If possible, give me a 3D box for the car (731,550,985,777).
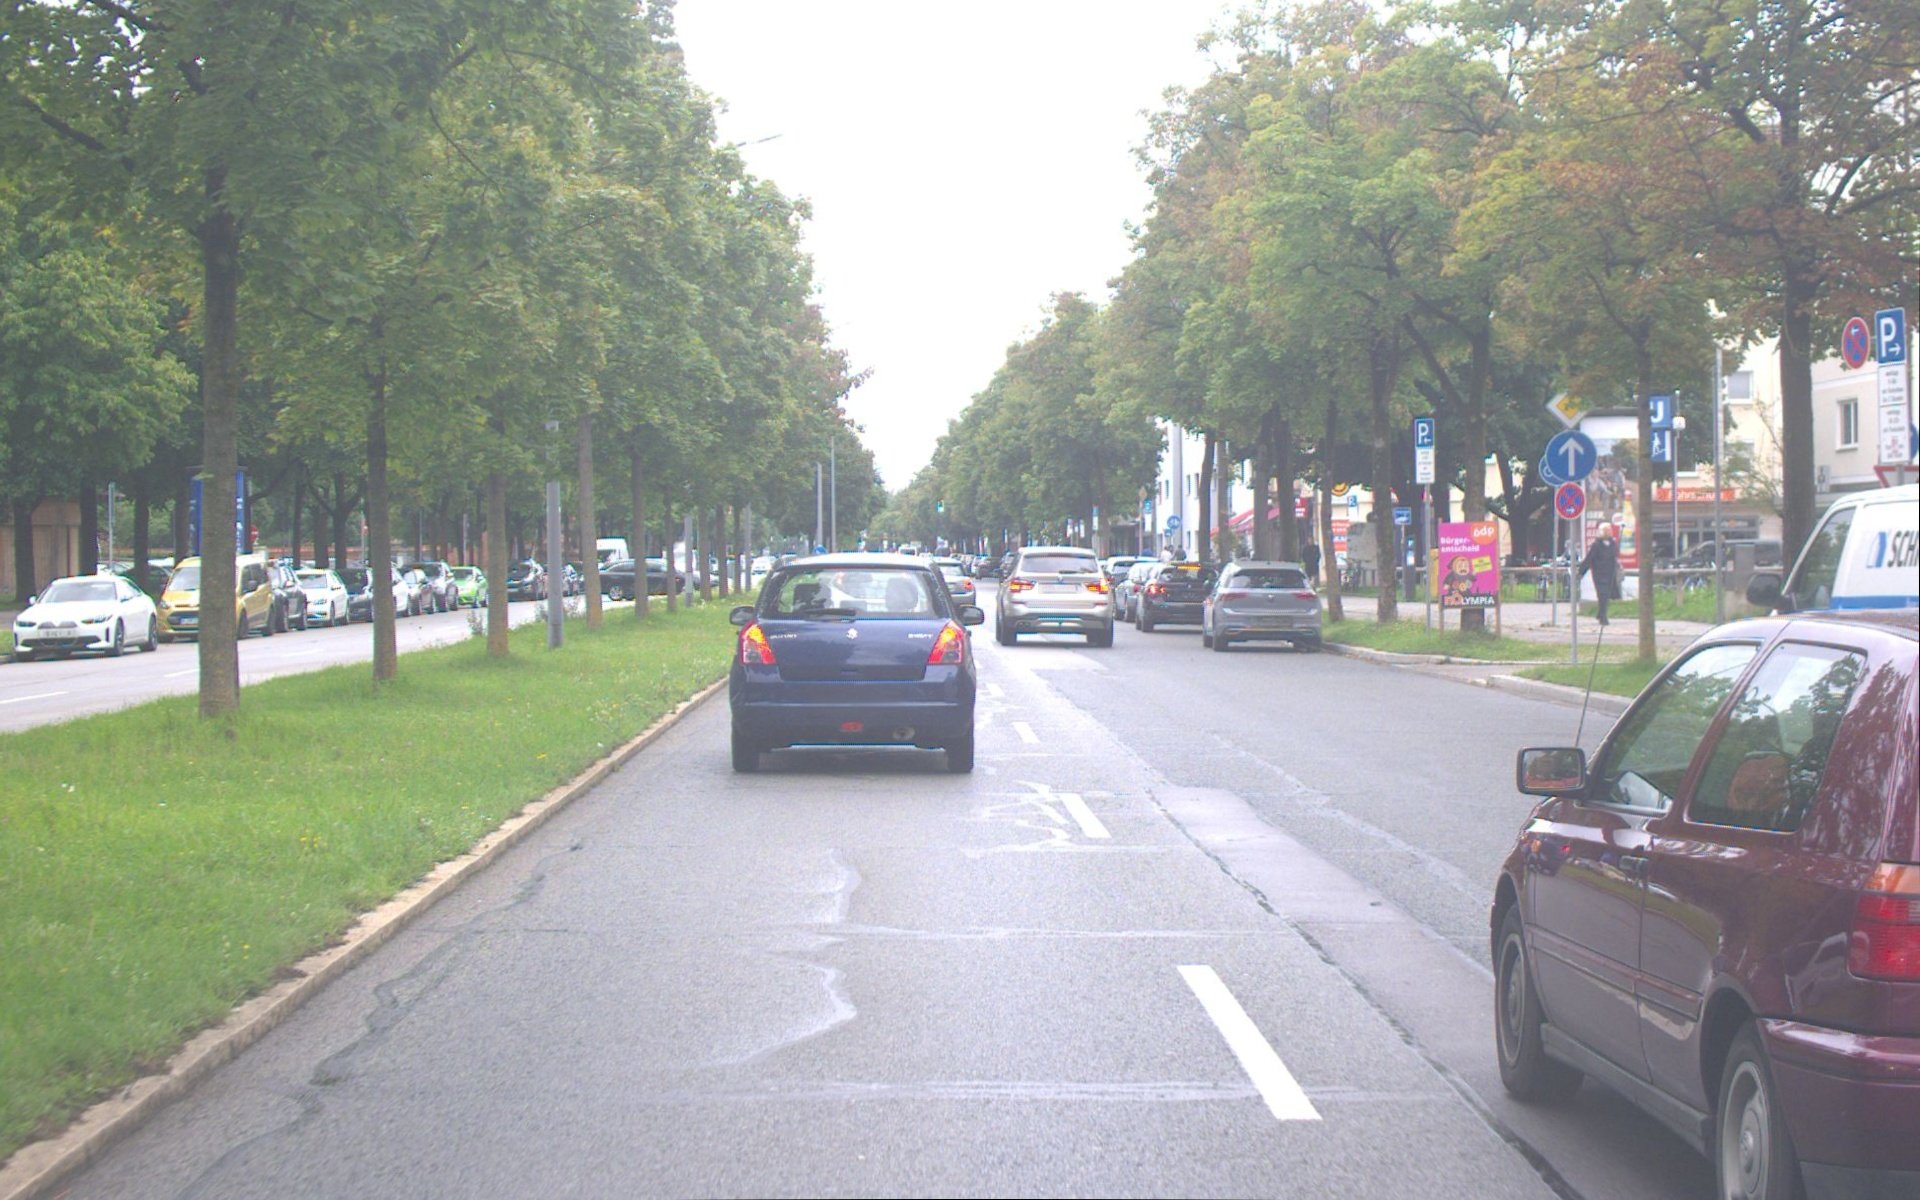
[{"bbox_3d":[-0.747,0.393,24.771,1.682,1.496,3.919,0,1,-2],"label":"car"}]

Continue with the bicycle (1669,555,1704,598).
[{"bbox_3d":[17.644,-0.582,83.468,0.431,1.025,1.884,-1,1,0],"label":"bicycle"}]

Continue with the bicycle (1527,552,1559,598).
[{"bbox_3d":[14.161,-0.607,83.507,0.431,1.097,1.884,-1,1,0],"label":"bicycle"}]

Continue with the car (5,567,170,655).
[{"bbox_3d":[-16.001,0.175,63.271,1.856,1.467,4.875,-2,1,-1],"label":"car"}]

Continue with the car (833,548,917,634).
[{"bbox_3d":[-1.509,-0.173,60.548,1.444,1.478,3.107,0,1,-2],"label":"car"}]

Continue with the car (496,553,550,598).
[{"bbox_3d":[-17.063,-0.967,134.446,1.716,1.735,3.879,1,0,-2],"label":"car"}]

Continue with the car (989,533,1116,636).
[{"bbox_3d":[1.531,-0.285,58.383,1.865,1.655,4.408,1,1,-2],"label":"car"}]

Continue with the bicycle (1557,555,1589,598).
[{"bbox_3d":[14.864,-0.580,83.418,0.431,1.025,1.884,-1,1,0],"label":"bicycle"}]

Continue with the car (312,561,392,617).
[{"bbox_3d":[-16.231,-0.305,91.895,1.613,1.412,3.898,-2,1,-3],"label":"car"}]

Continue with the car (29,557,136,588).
[{"bbox_3d":[-42.240,-1.307,165.503,4.691,1.441,1.673,1,0,0],"label":"car"}]

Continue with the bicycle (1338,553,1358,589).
[{"bbox_3d":[11.827,-0.886,104.873,0.389,1.101,1.853,1,0,0],"label":"bicycle"}]

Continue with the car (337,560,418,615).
[{"bbox_3d":[-16.549,-0.368,97.819,1.607,1.439,4.279,-2,1,-1],"label":"car"}]

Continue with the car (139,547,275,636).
[{"bbox_3d":[-16.138,-0.217,73.922,1.814,1.777,4.818,-2,1,0],"label":"car"}]

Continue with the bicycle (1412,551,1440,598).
[{"bbox_3d":[11.622,-0.650,85.777,0.431,1.129,1.884,-1,1,0],"label":"bicycle"}]

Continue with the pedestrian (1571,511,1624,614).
[{"bbox_3d":[10.763,-0.626,58.047,0.639,1.724,0.601,0,0,-29],"label":"pedestrian"}]

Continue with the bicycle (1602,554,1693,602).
[{"bbox_3d":[15.030,-0.482,75.188,1.877,1.025,0.433,-1,0,-4],"label":"bicycle"}]

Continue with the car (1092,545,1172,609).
[{"bbox_3d":[4.321,-0.598,86.852,1.716,1.528,4.276,1,1,-1],"label":"car"}]

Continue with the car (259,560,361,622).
[{"bbox_3d":[-16.362,-0.244,86.698,1.762,1.445,4.533,-2,1,-1],"label":"car"}]

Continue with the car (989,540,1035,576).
[{"bbox_3d":[2.427,-1.974,160.911,1.865,1.677,4.225,-1,1,-3],"label":"car"}]

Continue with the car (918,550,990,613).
[{"bbox_3d":[-0.169,-0.461,82.934,1.682,1.458,3.734,0,1,-1],"label":"car"}]

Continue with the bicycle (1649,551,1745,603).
[{"bbox_3d":[15.172,-0.470,70.777,1.877,1.025,0.433,-1,0,-6],"label":"bicycle"}]

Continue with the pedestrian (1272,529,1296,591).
[{"bbox_3d":[9.932,-1.236,105.352,0.588,1.883,0.902,-1,0,-2],"label":"pedestrian"}]

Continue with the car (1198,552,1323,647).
[{"bbox_3d":[4.912,-0.033,56.632,1.682,1.460,4.115,1,1,0],"label":"car"}]

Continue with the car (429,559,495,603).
[{"bbox_3d":[-16.949,-0.675,117.211,1.547,1.404,3.879,-2,1,2],"label":"car"}]

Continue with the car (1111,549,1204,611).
[{"bbox_3d":[4.608,-0.488,80.748,1.635,1.381,4.245,1,1,-4],"label":"car"}]

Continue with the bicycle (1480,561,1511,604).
[{"bbox_3d":[13.039,-0.438,83.738,0.431,1.025,1.884,-1,1,0],"label":"bicycle"}]

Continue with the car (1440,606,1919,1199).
[{"bbox_3d":[2.333,0.745,8.166,1.682,1.379,3.919,1,1,-2],"label":"car"}]

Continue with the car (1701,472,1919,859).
[{"bbox_3d":[5.635,0.315,18.677,1.881,1.921,4.934,1,1,-3],"label":"car"}]

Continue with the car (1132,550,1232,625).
[{"bbox_3d":[4.520,-0.272,70.497,1.750,1.460,4.176,1,1,0],"label":"car"}]
